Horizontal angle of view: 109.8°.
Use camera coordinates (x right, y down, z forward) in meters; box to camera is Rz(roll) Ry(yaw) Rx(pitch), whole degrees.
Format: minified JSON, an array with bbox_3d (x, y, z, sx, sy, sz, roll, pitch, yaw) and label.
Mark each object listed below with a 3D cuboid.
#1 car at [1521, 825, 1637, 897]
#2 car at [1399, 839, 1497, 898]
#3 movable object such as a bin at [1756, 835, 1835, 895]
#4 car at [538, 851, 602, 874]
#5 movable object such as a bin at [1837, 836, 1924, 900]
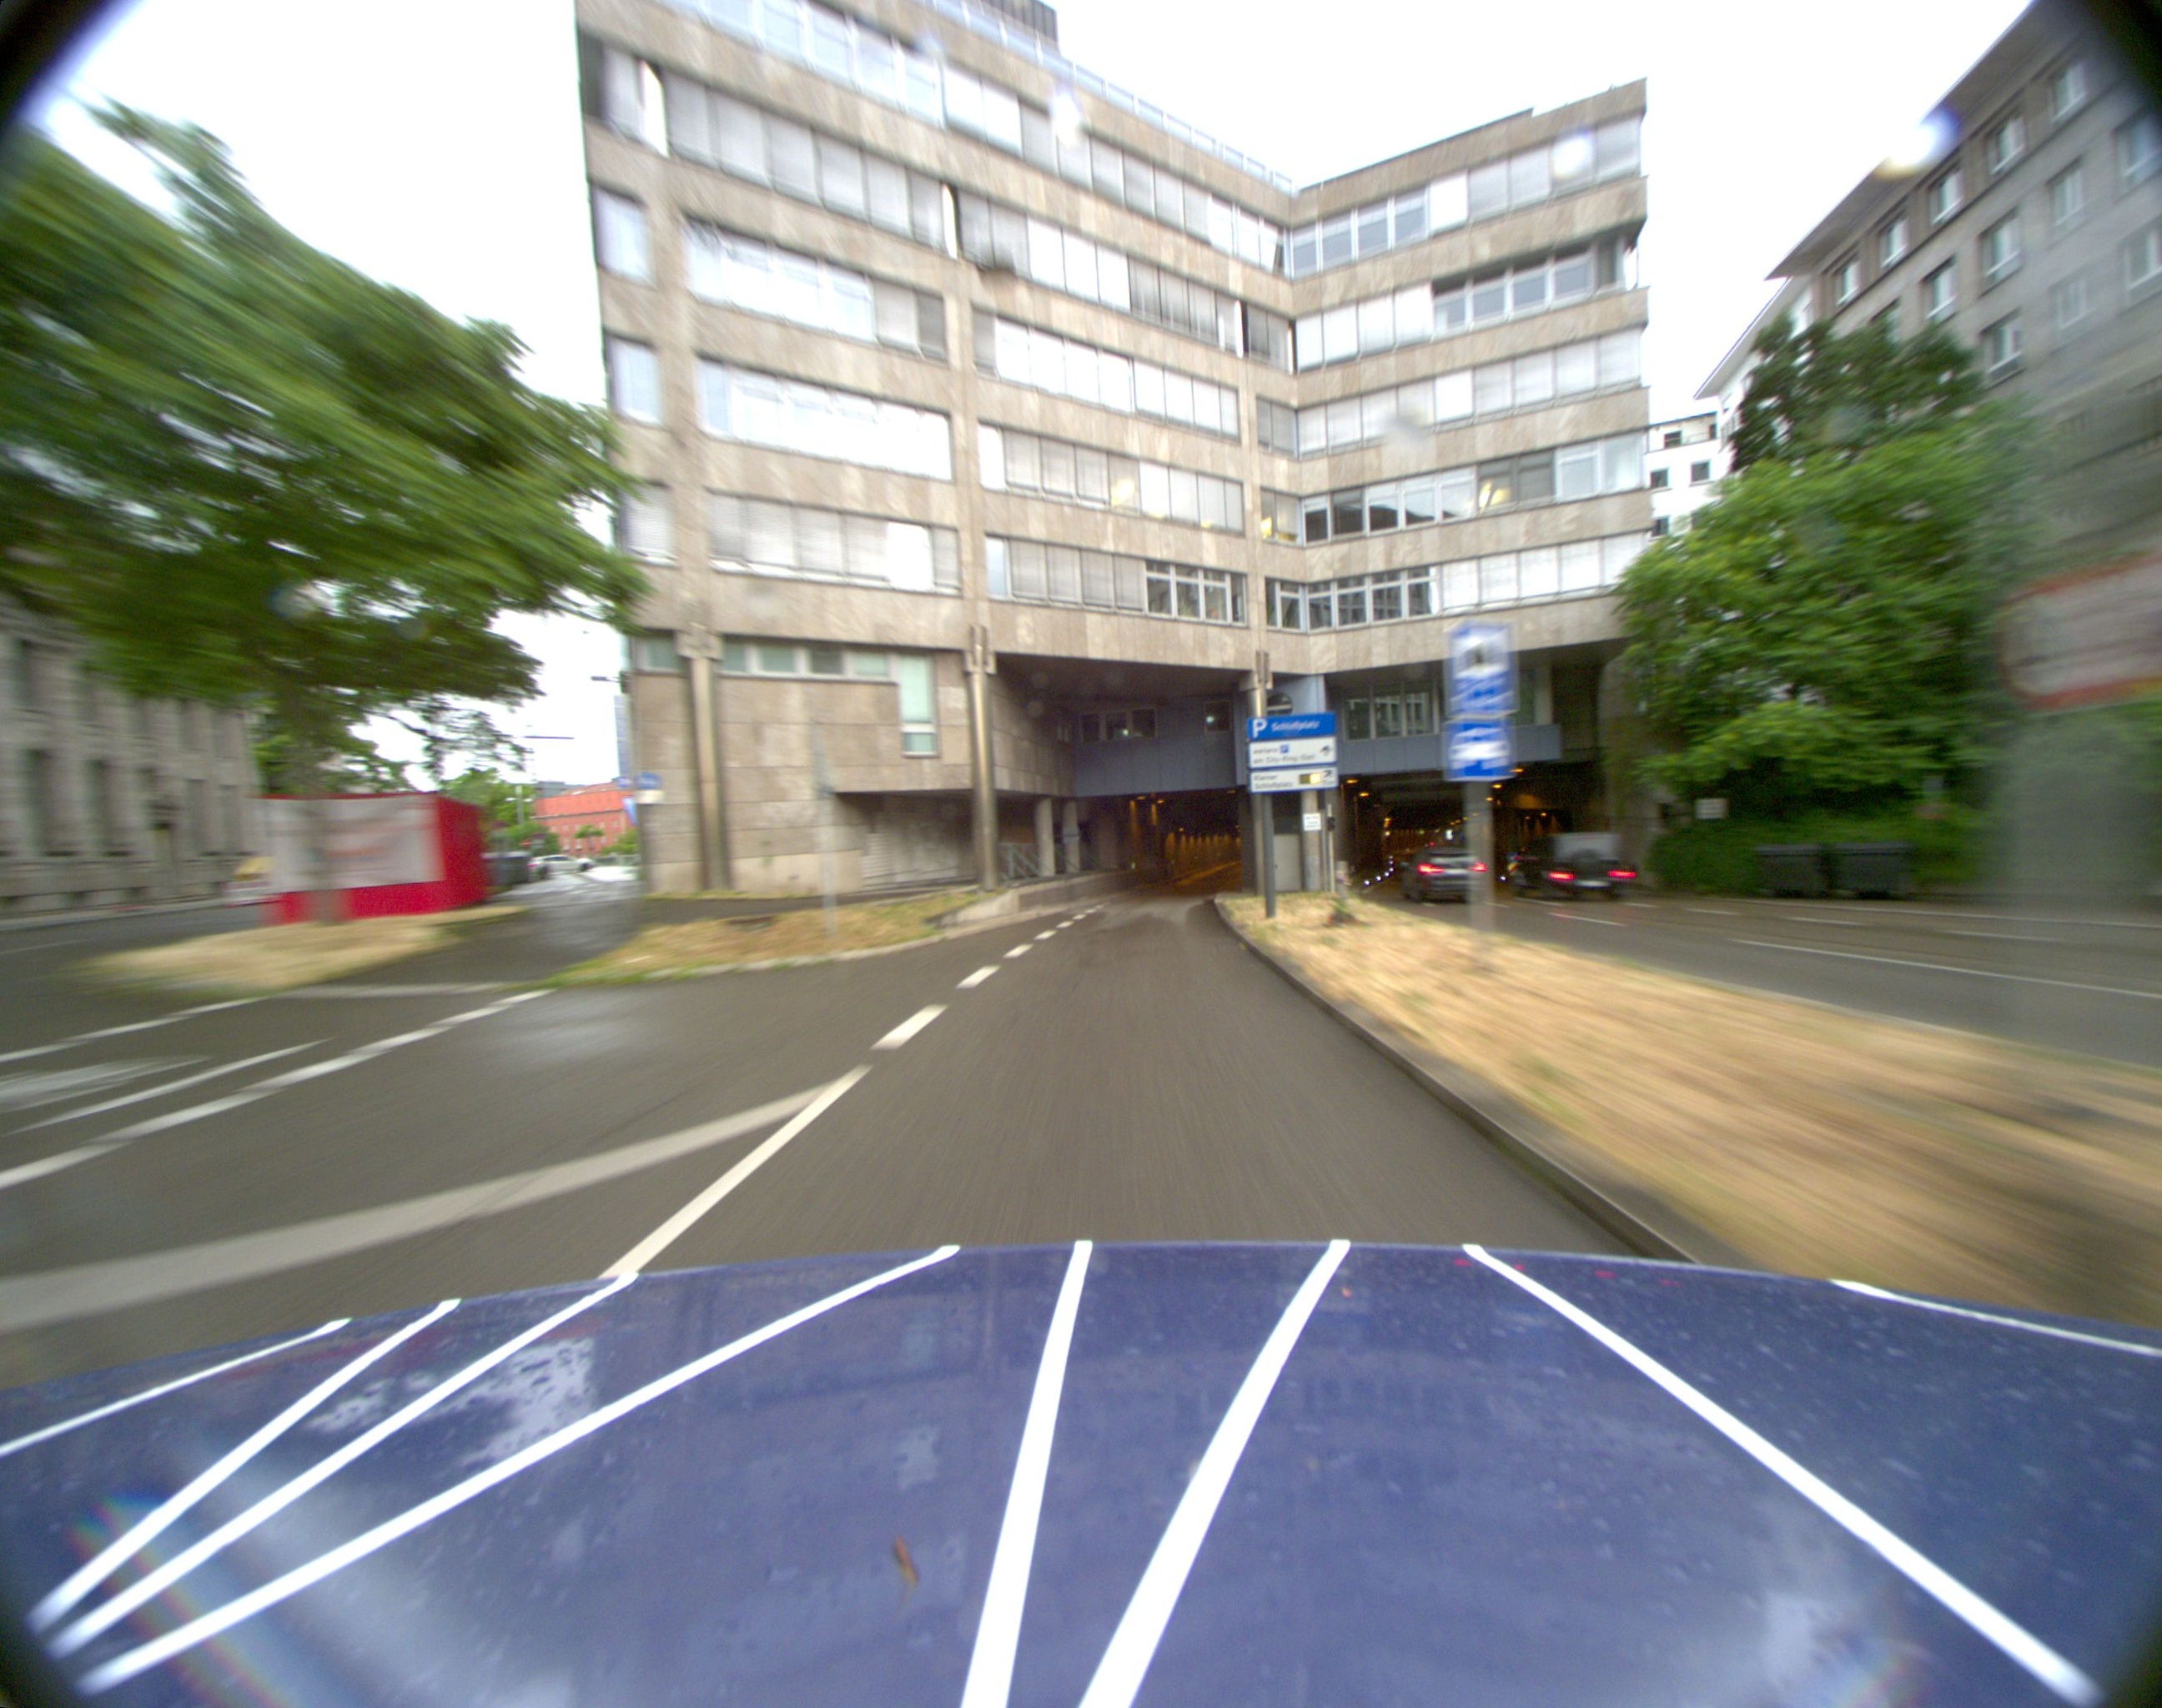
[{"bbox_3d":[14.555,0.211,22.509,1.839,1.910,4.649,-1,-1,20],"label":"car"},{"bbox_3d":[10.814,0.420,22.700,1.847,1.578,4.395,-1,-1,15],"label":"car"},{"bbox_3d":[18.548,0.276,19.733,1.169,1.442,1.336,-4,2,-40],"label":"movable object such as a bin"},{"bbox_3d":[-39.409,0.623,58.675,3.778,1.641,1.794,-2,1,-44],"label":"car"},{"bbox_3d":[19.402,0.314,18.450,1.298,1.442,1.204,-3,2,-32],"label":"movable object such as a bin"}]
